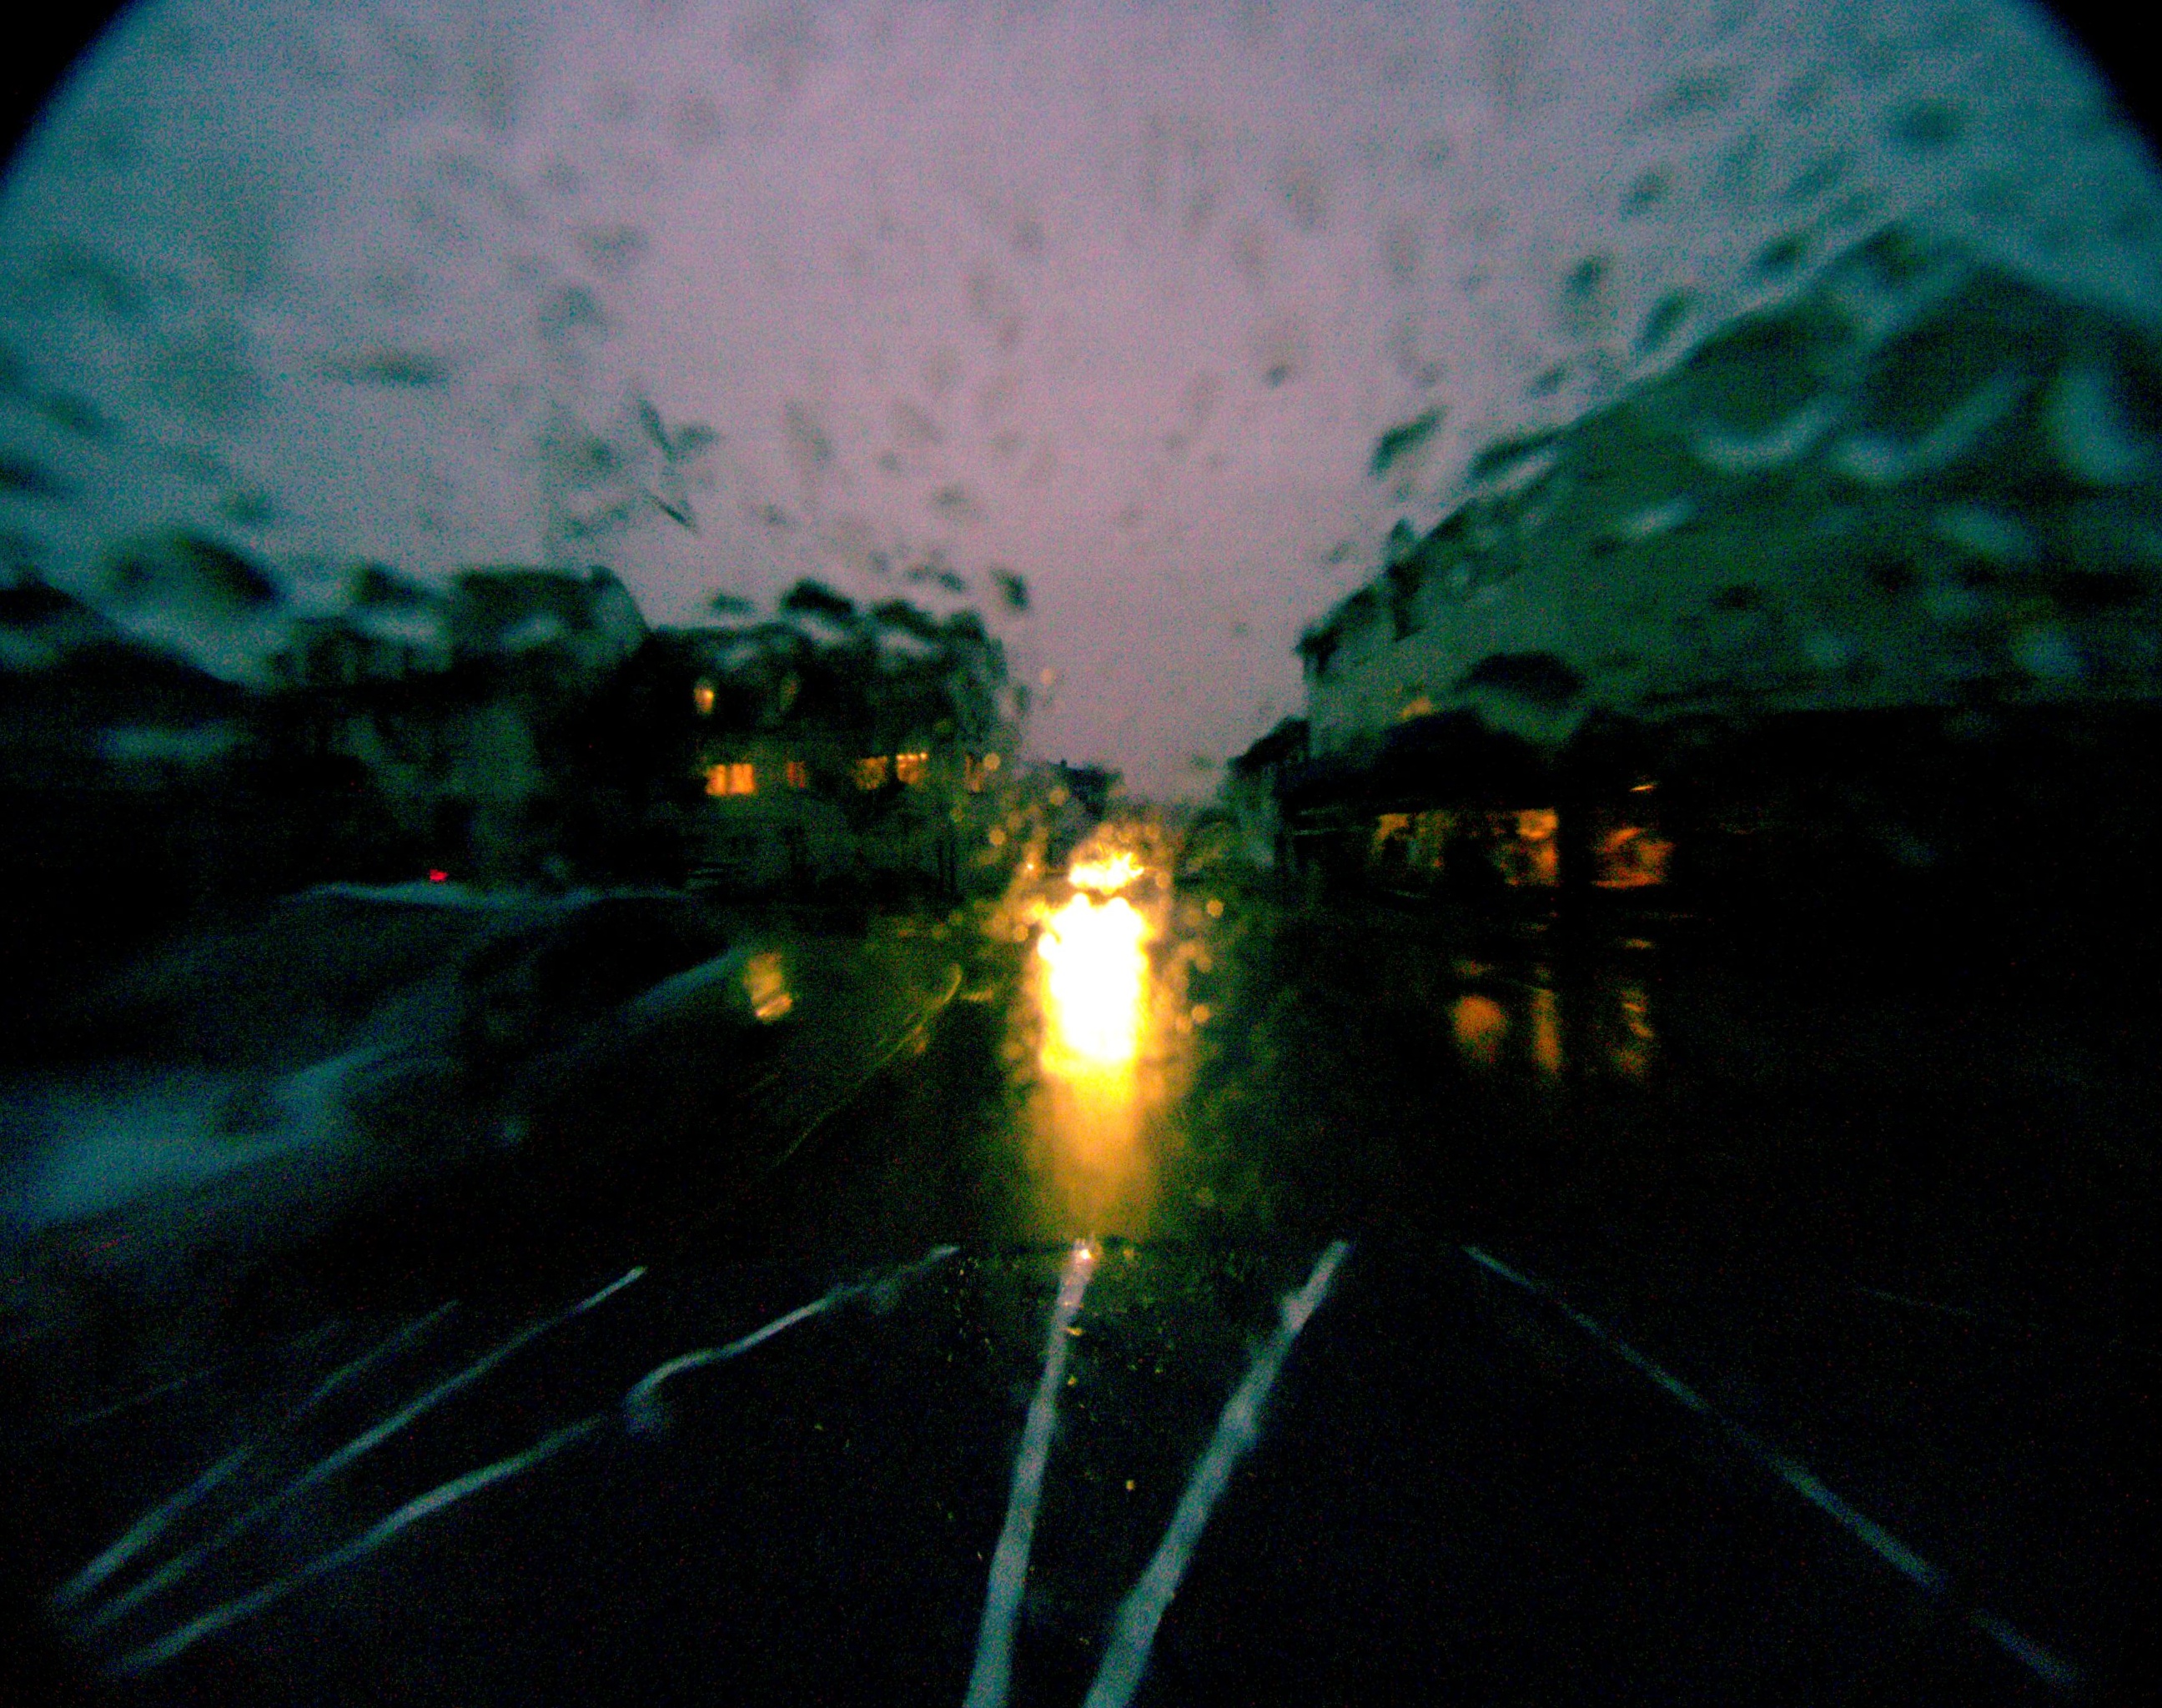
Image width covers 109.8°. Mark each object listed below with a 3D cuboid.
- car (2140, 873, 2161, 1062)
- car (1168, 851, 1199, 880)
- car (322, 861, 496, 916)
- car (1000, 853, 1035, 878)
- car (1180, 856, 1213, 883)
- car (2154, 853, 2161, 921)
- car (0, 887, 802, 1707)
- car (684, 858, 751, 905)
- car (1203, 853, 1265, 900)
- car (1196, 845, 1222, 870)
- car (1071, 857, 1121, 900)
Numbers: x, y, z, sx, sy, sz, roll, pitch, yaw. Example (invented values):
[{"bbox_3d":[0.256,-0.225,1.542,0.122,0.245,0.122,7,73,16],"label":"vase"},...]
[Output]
[{"bbox_3d":[9.460,0.840,3.907,1.768,1.490,4.451,0,-1,-1],"label":"car"},{"bbox_3d":[7.456,0.803,54.830,1.883,1.888,4.839,-3,-1,11],"label":"car"},{"bbox_3d":[-18.630,0.917,21.117,3.720,1.439,1.778,0,0,13],"label":"car"},{"bbox_3d":[-4.738,0.881,57.558,1.784,1.811,4.246,0,0,7],"label":"car"},{"bbox_3d":[6.861,0.911,45.531,1.798,1.448,4.397,-3,0,8],"label":"car"},{"bbox_3d":[24.486,0.658,14.422,1.704,1.455,4.444,0,-2,-18],"label":"car"},{"bbox_3d":[-2.759,0.968,2.959,1.736,1.450,4.000,1,0,2],"label":"car"},{"bbox_3d":[-12.336,0.867,25.672,1.798,1.459,4.214,1,-1,-29],"label":"car"},{"bbox_3d":[5.820,0.820,29.240,1.725,1.604,3.816,-3,0,3],"label":"car"},{"bbox_3d":[14.069,0.367,83.294,2.044,2.643,4.216,-3,-1,18],"label":"car"},{"bbox_3d":[0.685,0.939,31.106,1.878,1.622,4.001,-1,0,3],"label":"car"}]
